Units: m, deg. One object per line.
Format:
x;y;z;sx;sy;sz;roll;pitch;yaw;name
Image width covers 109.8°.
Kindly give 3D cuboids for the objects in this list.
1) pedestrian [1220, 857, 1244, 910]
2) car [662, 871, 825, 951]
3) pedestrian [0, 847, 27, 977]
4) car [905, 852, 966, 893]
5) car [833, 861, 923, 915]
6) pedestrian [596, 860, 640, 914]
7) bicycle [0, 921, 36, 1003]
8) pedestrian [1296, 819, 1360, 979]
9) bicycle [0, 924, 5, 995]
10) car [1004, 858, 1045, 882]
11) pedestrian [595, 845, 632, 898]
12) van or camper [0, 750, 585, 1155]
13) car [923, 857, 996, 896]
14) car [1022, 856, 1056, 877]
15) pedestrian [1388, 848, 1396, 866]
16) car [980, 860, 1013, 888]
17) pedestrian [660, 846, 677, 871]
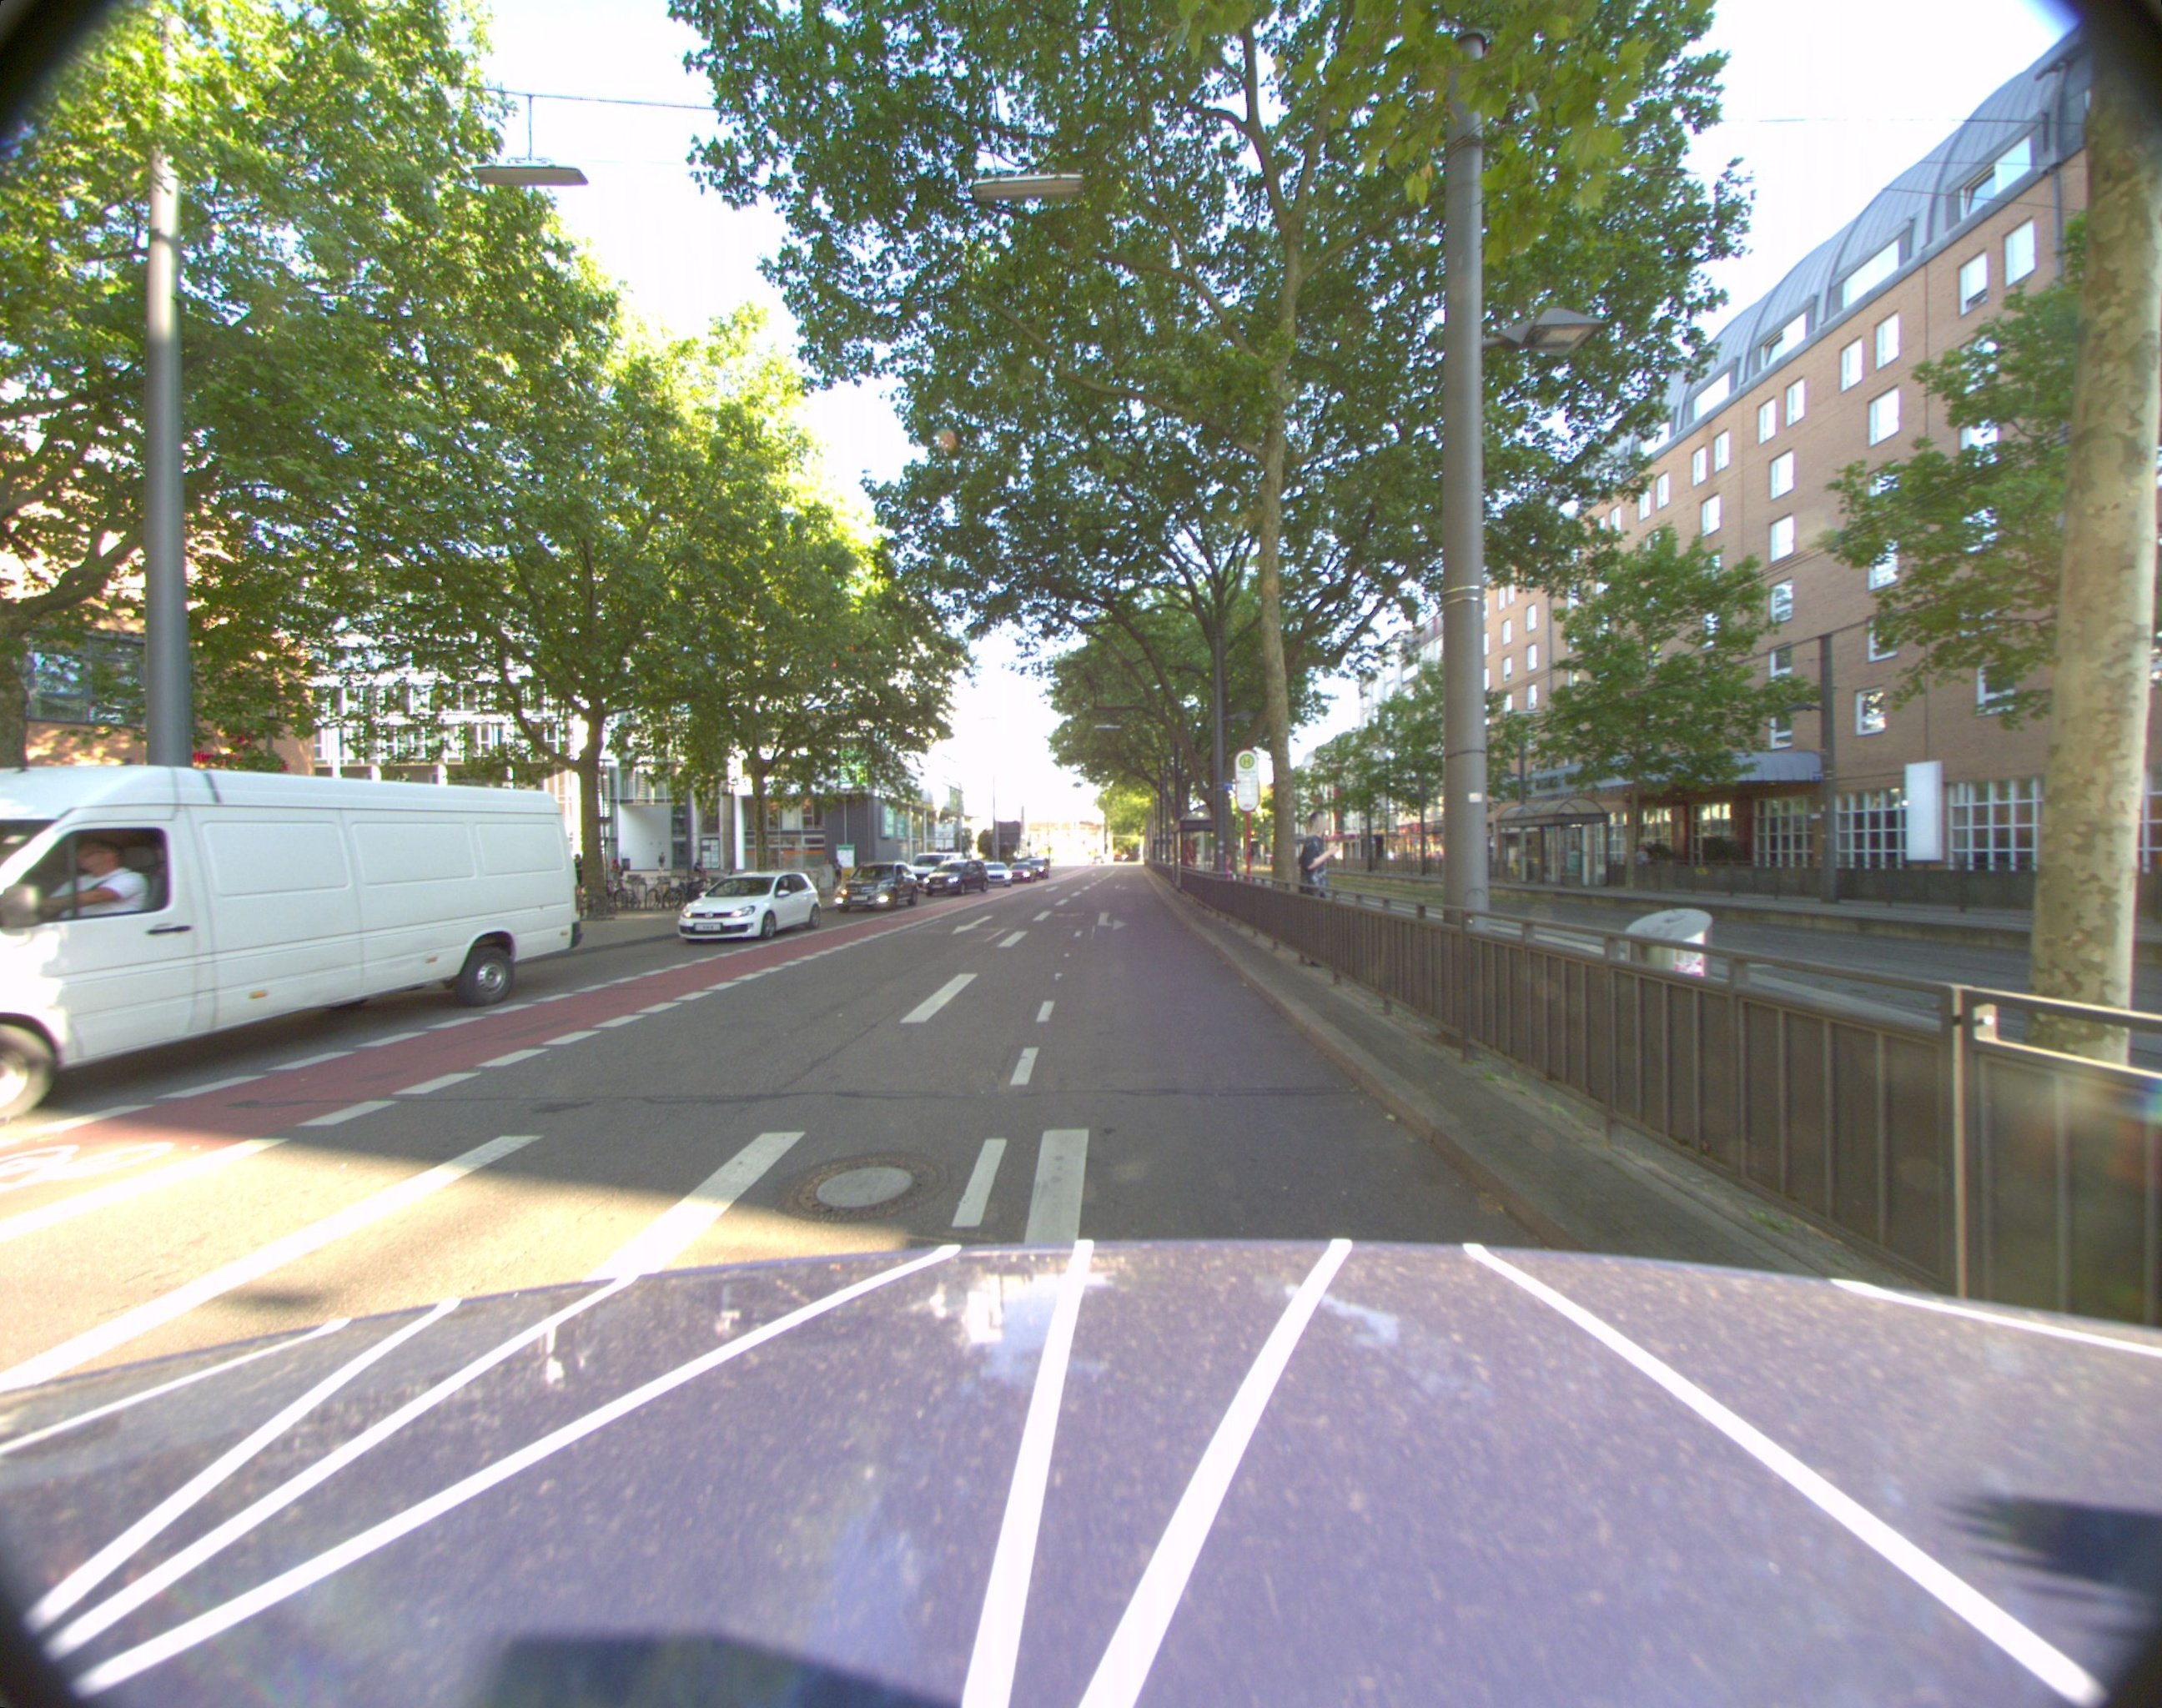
3.895;0.756;19.594;0.542;1.310;0.524;-2;1;12;pedestrian
-7.314;1.171;16.955;1.639;1.420;3.987;-2;0;3;car
-17.077;0.892;11.463;0.934;2.002;1.091;-1;1;-25;pedestrian
-7.573;0.891;40.091;1.933;1.953;5.918;-2;0;1;car
-6.853;1.088;26.118;1.769;1.626;4.250;-2;0;2;car
-19.831;1.396;32.563;1.048;2.235;1.221;-1;1;38;pedestrian
-13.286;1.327;7.971;0.925;0.943;2.637;-2;1;1;bicycle
2.911;0.517;8.982;0.543;1.823;0.524;-2;1;4;pedestrian
-14.284;1.337;7.974;1.050;0.996;3.412;-2;1;1;bicycle
-3.906;1.071;53.457;1.834;1.481;4.198;-3;0;10;car
-19.973;0.739;32.467;0.842;2.220;0.905;-2;1;22;pedestrian
-7.854;0.633;7.058;2.004;2.599;6.499;-1;0;2;van or camper
-5.653;1.009;35.925;1.708;1.626;4.395;-2;0;14;car
-3.382;1.003;61.662;1.784;1.481;4.198;-3;0;10;car
30.533;0.288;74.558;0.504;1.725;0.574;-1;1;3;pedestrian
-4.986;1.128;44.965;1.837;1.481;4.193;-2;0;-6;car
-33.313;0.333;61.377;0.797;2.002;0.875;-2;1;1;pedestrian
